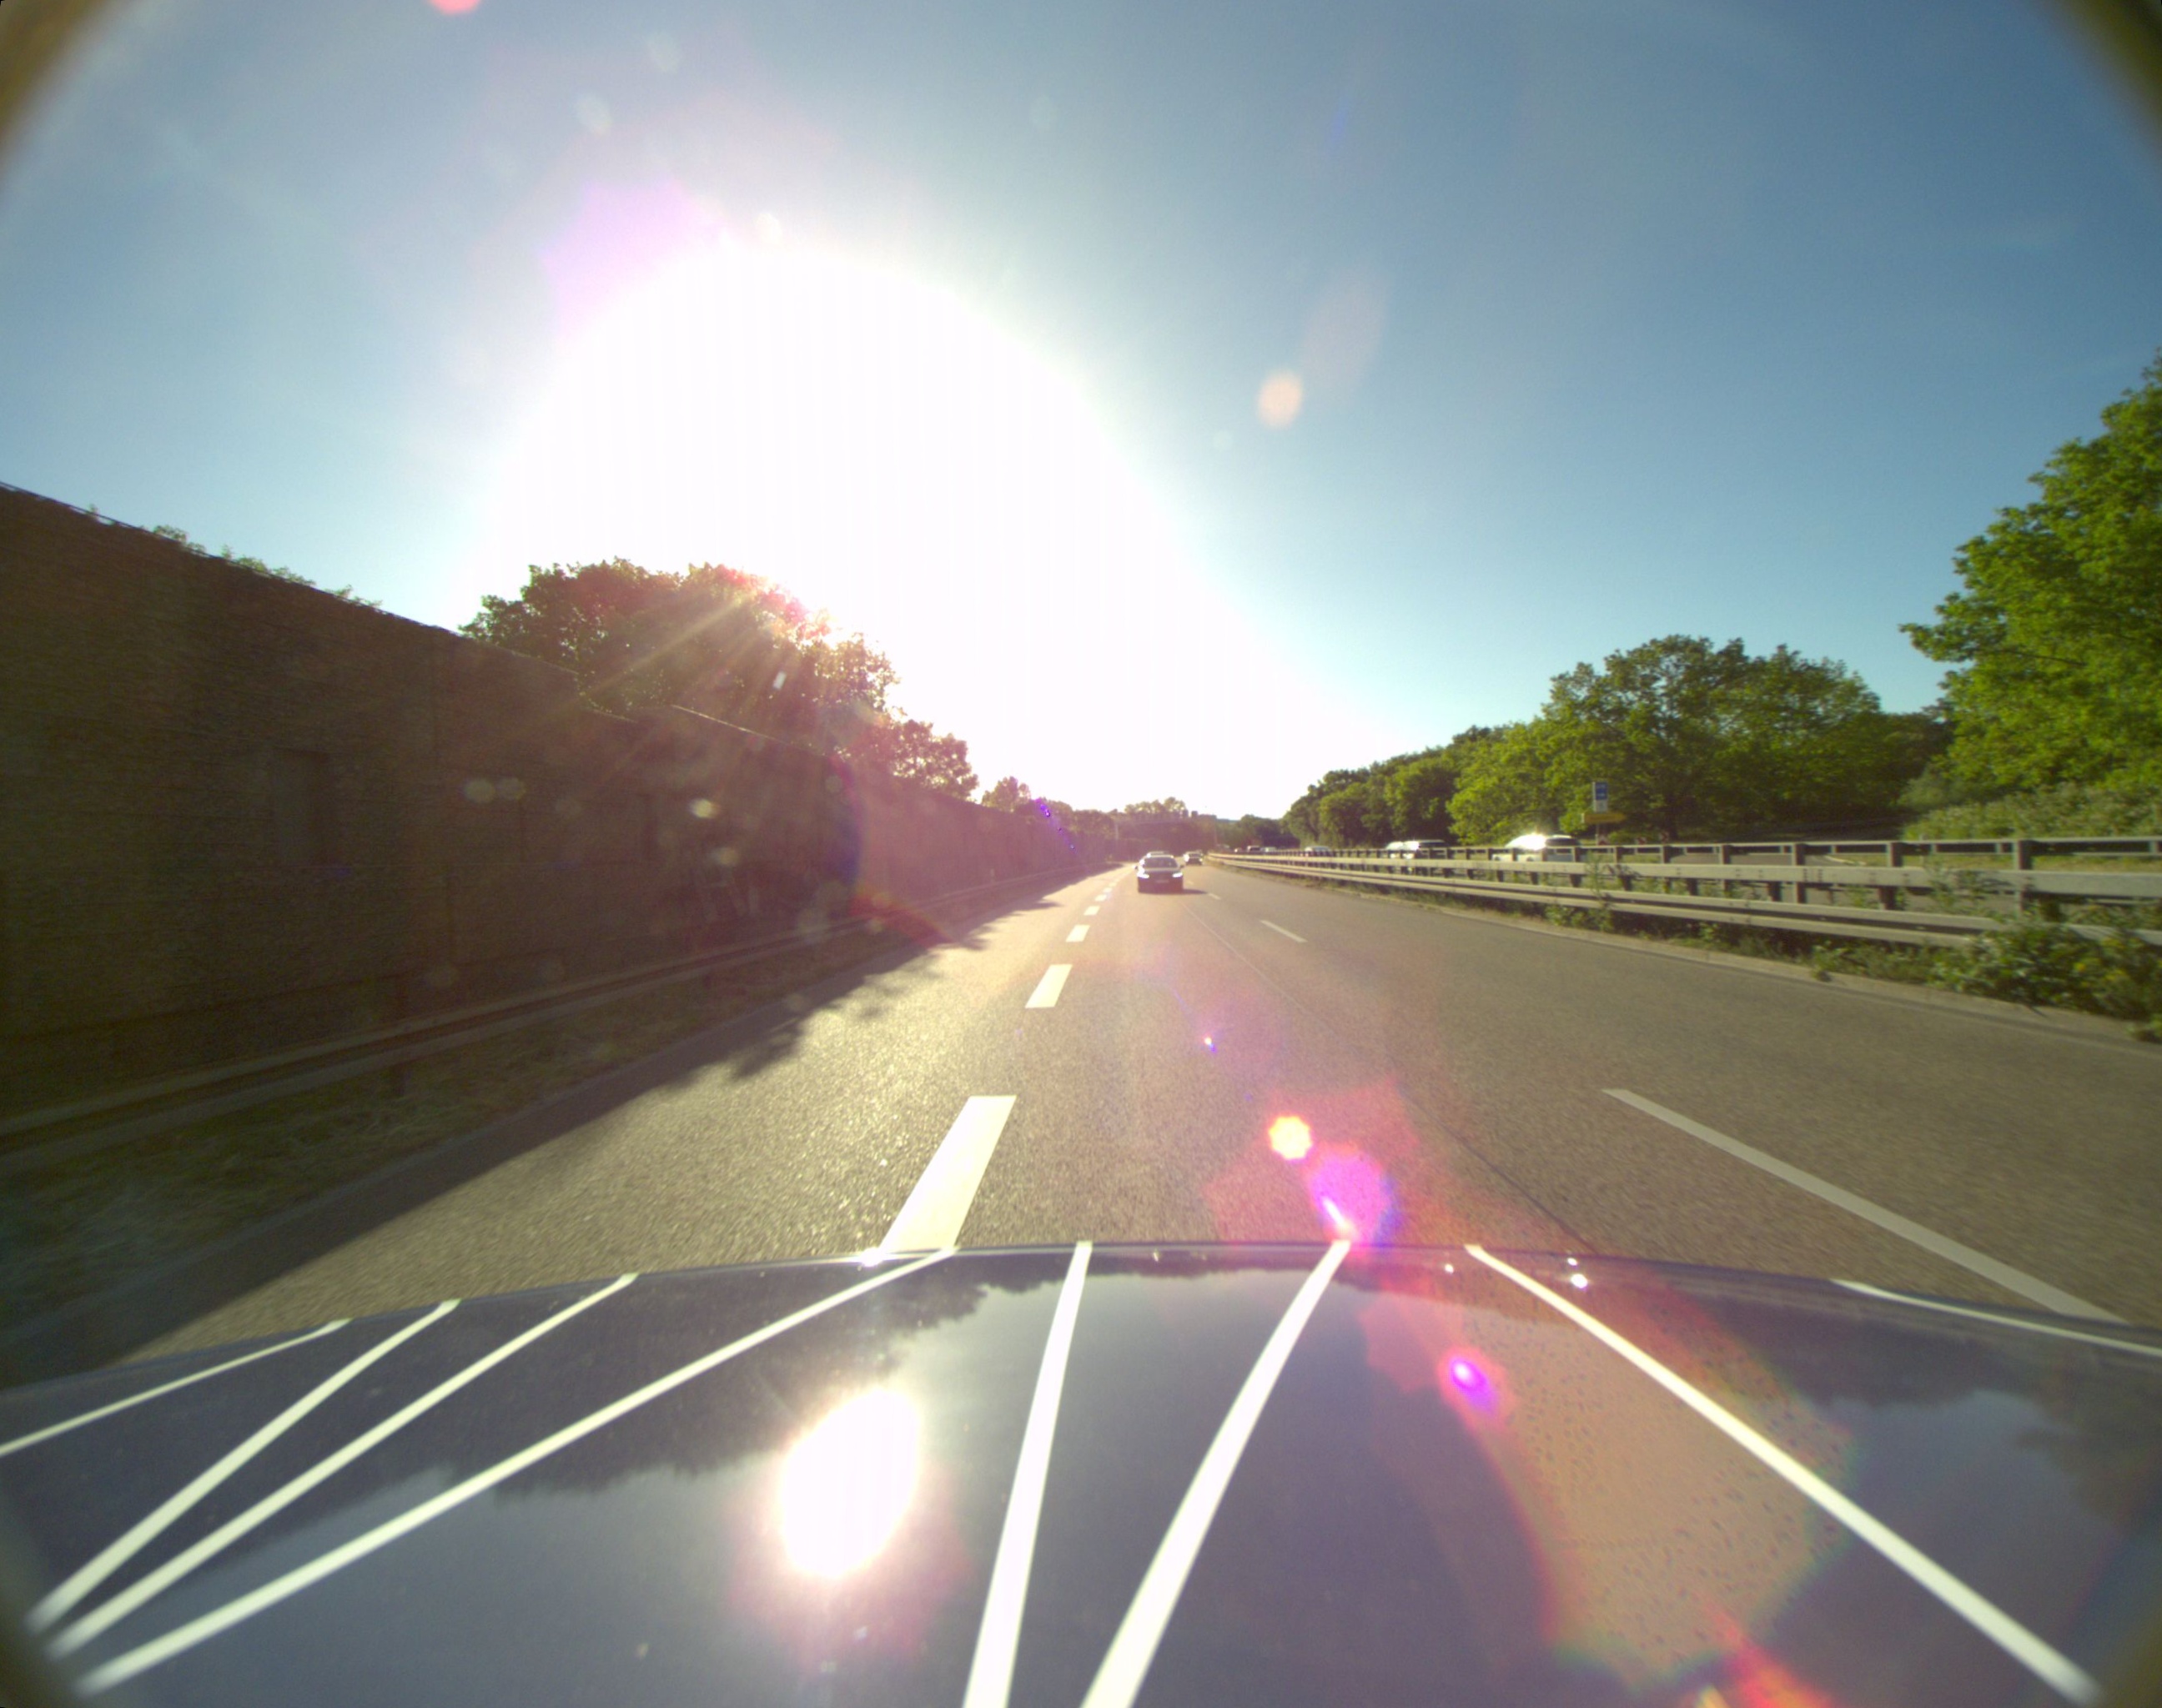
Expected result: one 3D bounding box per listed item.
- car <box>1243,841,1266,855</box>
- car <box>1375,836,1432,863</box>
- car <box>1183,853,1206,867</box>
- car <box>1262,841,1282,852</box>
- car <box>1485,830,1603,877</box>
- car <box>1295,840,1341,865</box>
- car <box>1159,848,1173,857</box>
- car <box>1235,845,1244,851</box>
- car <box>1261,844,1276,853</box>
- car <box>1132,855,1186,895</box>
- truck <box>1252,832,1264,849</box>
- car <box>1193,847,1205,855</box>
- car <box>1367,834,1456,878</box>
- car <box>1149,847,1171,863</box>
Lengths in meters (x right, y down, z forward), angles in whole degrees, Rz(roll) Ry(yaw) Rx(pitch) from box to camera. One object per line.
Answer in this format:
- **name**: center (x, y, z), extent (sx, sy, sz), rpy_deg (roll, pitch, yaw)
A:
- **car**: center (21.415, -0.714, 94.076), extent (1.998, 1.631, 4.722), rpy_deg (-3, 0, 4)
- **car**: center (21.549, -0.305, 51.016), extent (1.998, 1.631, 5.029), rpy_deg (-3, 0, 4)
- **car**: center (12.587, 0.682, 84.431), extent (1.998, 1.406, 4.831), rpy_deg (-3, 0, 3)
- **car**: center (27.405, -1.052, 109.114), extent (1.998, 1.406, 4.832), rpy_deg (-3, 0, 4)
- **car**: center (18.148, -0.031, 30.102), extent (1.998, 1.631, 4.722), rpy_deg (-3, 0, 5)
- **car**: center (16.086, -0.093, 51.798), extent (1.998, 1.631, 4.722), rpy_deg (0, 0, 4)
- **car**: center (14.454, -0.218, 129.024), extent (1.997, 1.406, 4.834), rpy_deg (-3, 0, 9)
- **car**: center (39.638, -1.607, 189.814), extent (1.997, 1.406, 4.834), rpy_deg (-3, 0, 10)
- **car**: center (31.663, -0.923, 128.152), extent (1.997, 1.406, 4.833), rpy_deg (-3, 0, 9)
- **car**: center (3.207, 0.808, 31.279), extent (1.997, 1.406, 4.832), rpy_deg (-2, 0, 6)
- **truck**: center (51.673, -3.925, 222.155), extent (3.171, 4.394, 8.025), rpy_deg (-5, 0, 12)
- **car**: center (23.556, -0.582, 151.189), extent (1.997, 1.406, 4.834), rpy_deg (-3, 0, 11)
- **car**: center (14.039, 0.056, 32.629), extent (1.998, 1.631, 4.722), rpy_deg (-3, 0, 5)
- **car**: center (7.960, 0.082, 76.669), extent (1.998, 1.406, 4.832), rpy_deg (-3, 0, 5)
